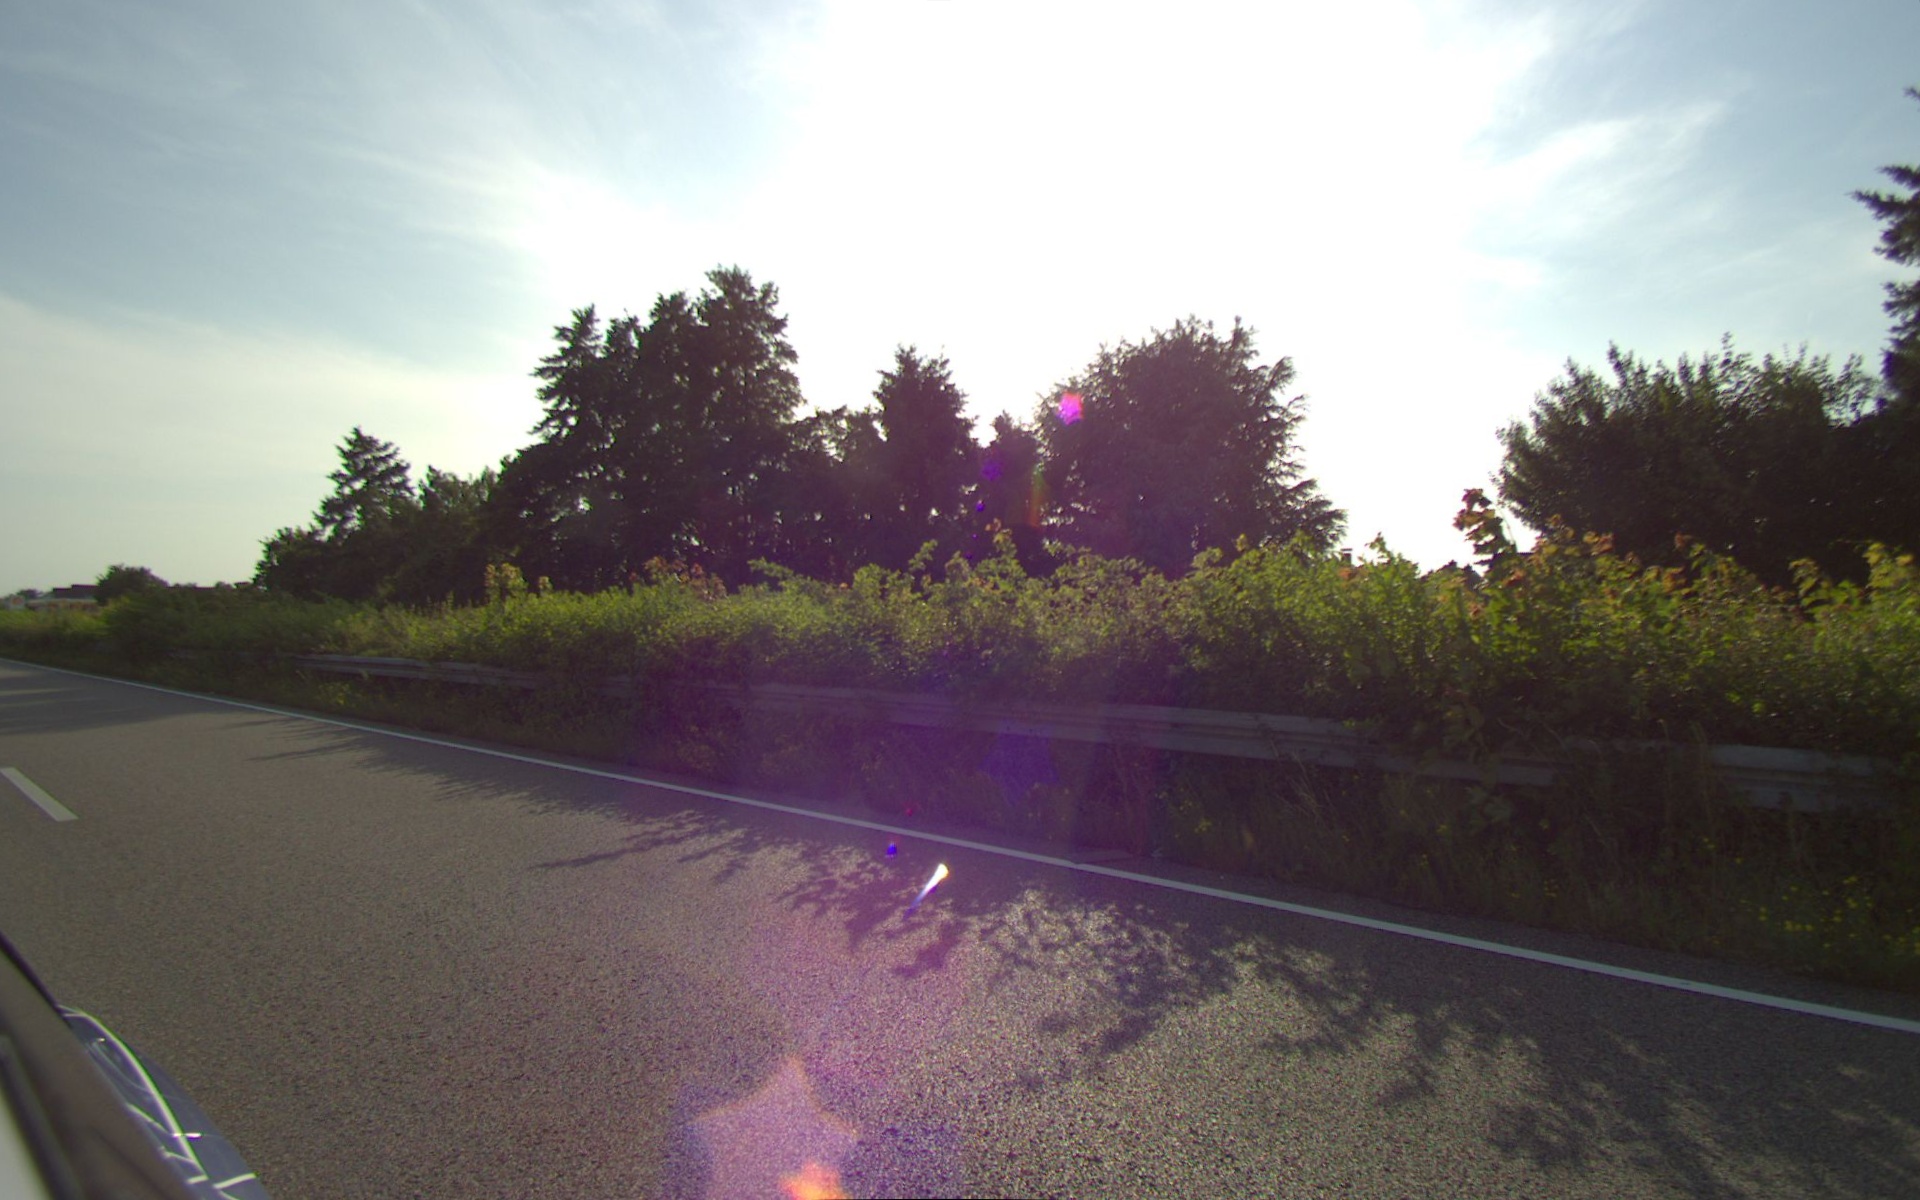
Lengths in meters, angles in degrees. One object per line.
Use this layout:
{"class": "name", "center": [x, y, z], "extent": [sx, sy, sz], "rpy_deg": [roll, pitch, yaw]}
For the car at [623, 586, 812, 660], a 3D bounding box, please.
{"class": "car", "center": [-5.265, 0.466, 21.671], "extent": [4.394, 1.433, 1.715], "rpy_deg": [-1, -1, 41]}
